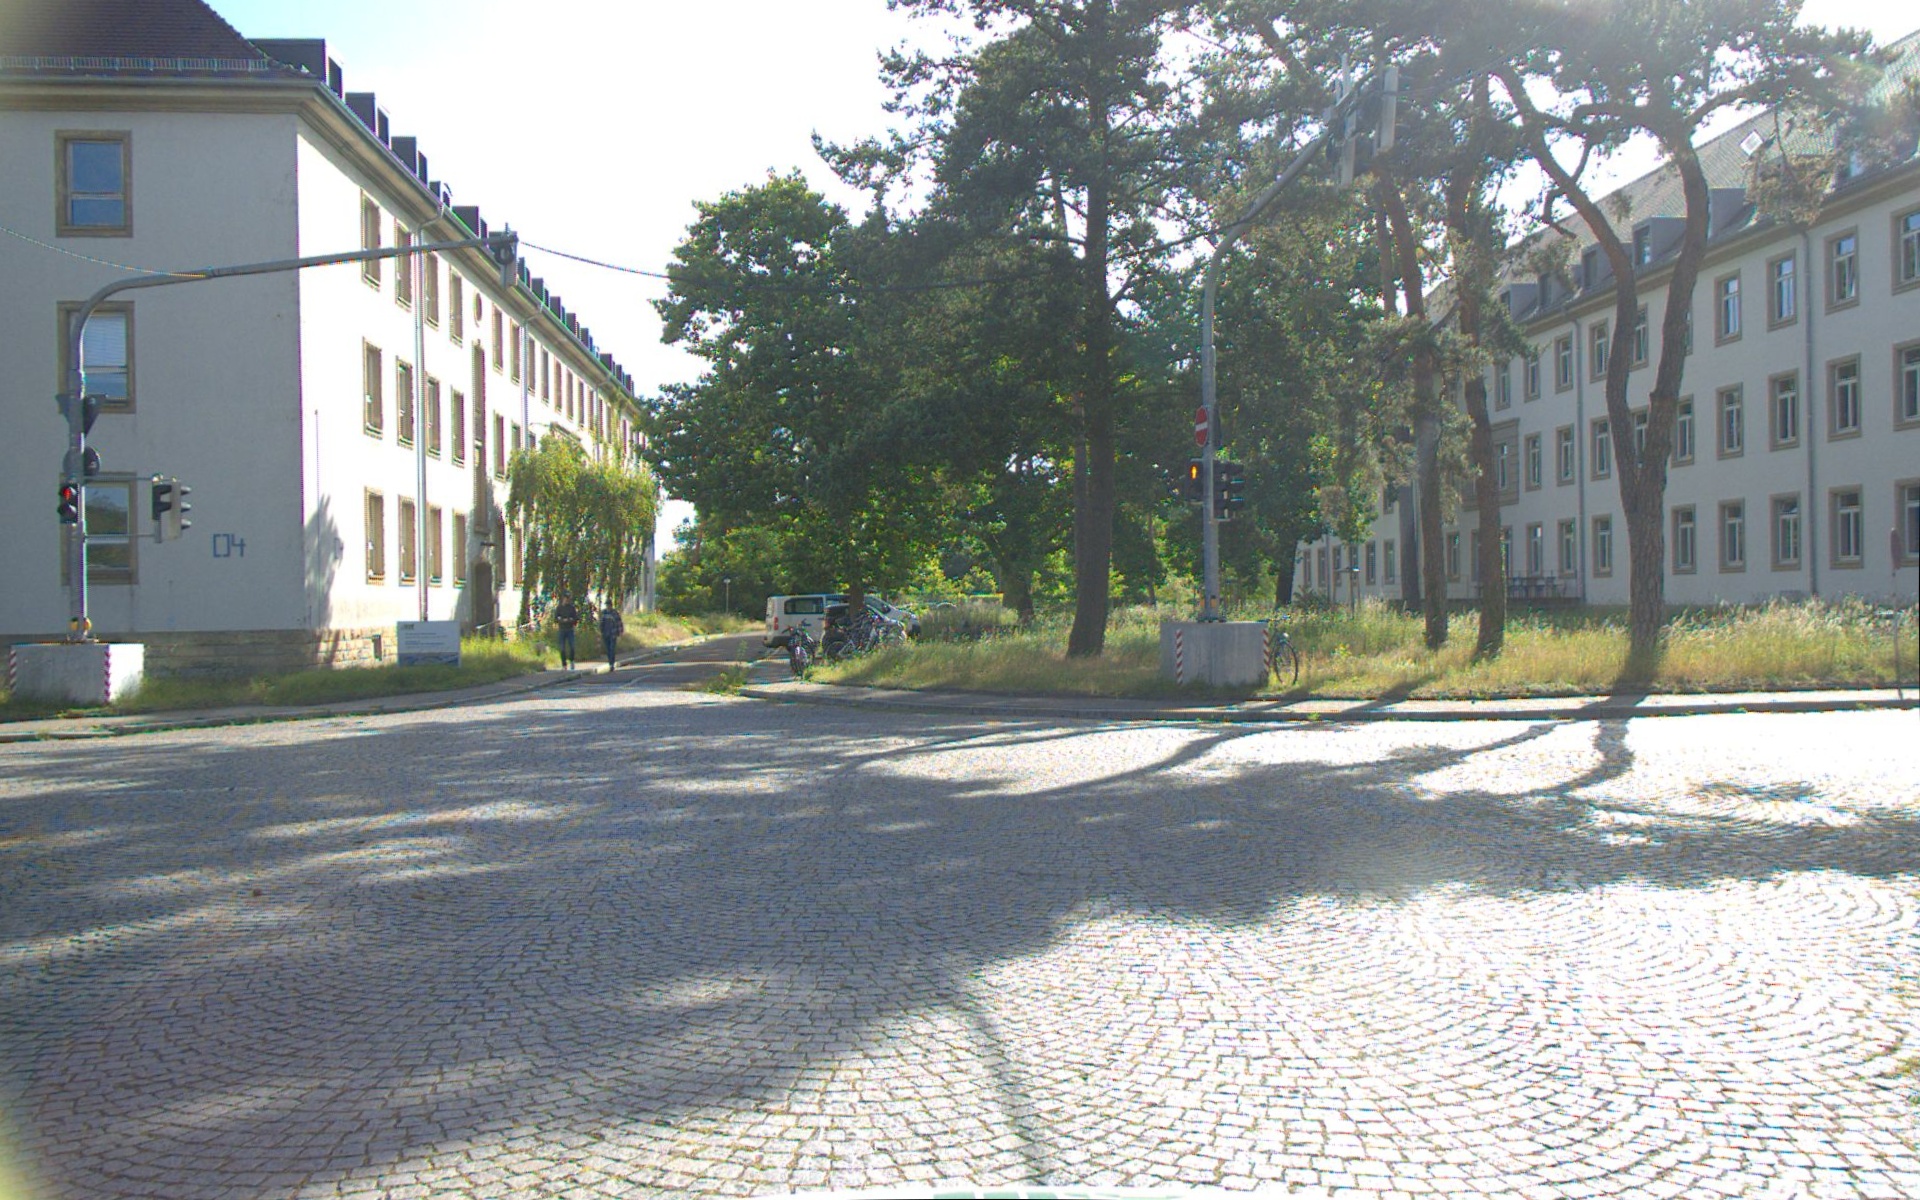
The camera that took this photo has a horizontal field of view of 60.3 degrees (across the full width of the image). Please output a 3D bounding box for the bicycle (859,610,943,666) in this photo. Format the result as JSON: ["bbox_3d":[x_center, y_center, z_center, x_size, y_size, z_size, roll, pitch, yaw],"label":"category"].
[{"bbox_3d":[-1.383,0.882,38.434,1.904,1.257,0.484,-1,0,-8],"label":"bicycle"}]

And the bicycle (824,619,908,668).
[{"bbox_3d":[-2.104,0.960,36.876,1.819,1.049,0.749,-1,0,-8],"label":"bicycle"}]

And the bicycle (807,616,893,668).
[{"bbox_3d":[-2.576,0.970,38.854,1.921,1.149,0.641,-1,0,-32],"label":"bicycle"}]

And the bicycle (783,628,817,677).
[{"bbox_3d":[-3.419,1.101,35.220,0.682,0.988,1.858,0,0,-6],"label":"bicycle"}]

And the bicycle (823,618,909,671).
[{"bbox_3d":[-2.152,1.007,37.672,1.904,1.149,0.749,-1,0,-8],"label":"bicycle"}]

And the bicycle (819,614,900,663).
[{"bbox_3d":[-2.433,0.925,39.966,1.905,1.149,0.646,-1,0,-10],"label":"bicycle"}]

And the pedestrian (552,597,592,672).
[{"bbox_3d":[-9.665,0.852,41.185,0.794,1.849,0.555,-1,0,6],"label":"pedestrian"}]

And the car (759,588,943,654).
[{"bbox_3d":[-3.660,0.681,55.024,5.825,2.049,2.468,-1,0,-12],"label":"car"}]

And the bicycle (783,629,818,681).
[{"bbox_3d":[-3.217,1.086,33.302,0.682,0.988,1.858,0,0,-6],"label":"bicycle"}]

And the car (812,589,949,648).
[{"bbox_3d":[-2.453,0.557,50.621,3.917,1.713,1.841,-1,0,-12],"label":"car"}]

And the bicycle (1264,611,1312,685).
[{"bbox_3d":[5.005,0.729,25.283,0.456,1.099,1.173,-1,-1,-1],"label":"bicycle"}]

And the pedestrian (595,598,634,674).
[{"bbox_3d":[-8.598,0.887,41.189,0.751,1.849,0.683,-1,0,6],"label":"pedestrian"}]
